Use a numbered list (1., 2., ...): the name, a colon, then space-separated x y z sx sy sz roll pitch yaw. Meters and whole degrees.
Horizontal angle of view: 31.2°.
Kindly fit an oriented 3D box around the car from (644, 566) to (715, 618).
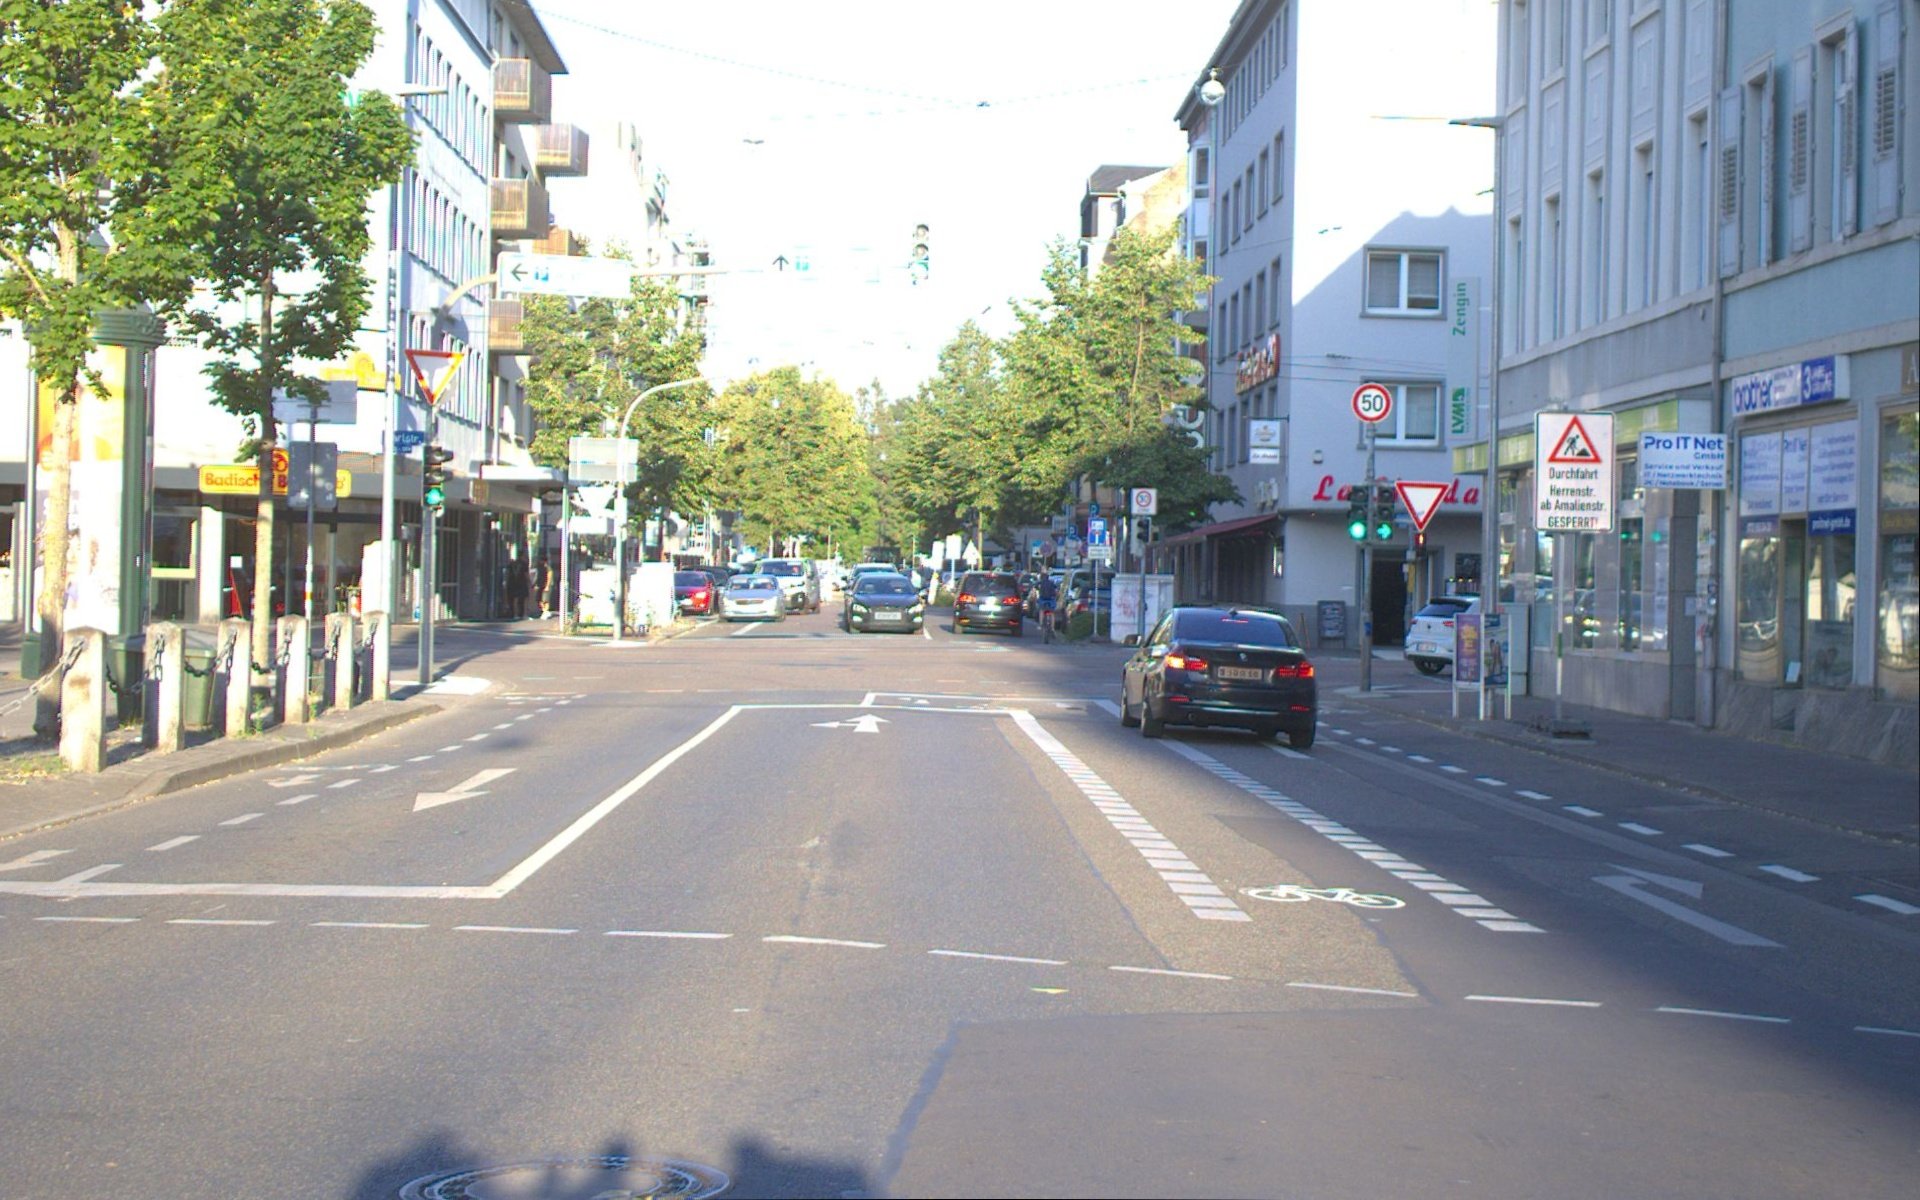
1. car: -9.204 -0.289 113.069 1.894 1.590 4.000 2 1 1

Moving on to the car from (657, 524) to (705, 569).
1. car: -12.985 -2.504 160.017 1.828 2.007 3.676 2 1 1

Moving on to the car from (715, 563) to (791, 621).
1. car: -6.043 -0.256 100.576 1.894 1.590 4.000 2 1 1

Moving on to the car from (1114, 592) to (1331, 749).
1. car: 2.763 0.713 36.981 1.888 1.487 4.205 2 1 -1

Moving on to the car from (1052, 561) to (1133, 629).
1. car: 3.647 -0.154 95.163 1.993 1.773 4.000 2 1 0

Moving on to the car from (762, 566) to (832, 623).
1. car: -5.335 -0.188 112.824 1.993 1.744 4.000 2 1 1

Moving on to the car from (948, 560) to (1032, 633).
1. car: 0.747 -0.120 87.723 1.993 1.744 4.000 2 1 -1

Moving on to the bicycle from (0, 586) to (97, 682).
1. bicycle: -11.096 0.344 37.897 2.942 1.019 0.843 1 0 2

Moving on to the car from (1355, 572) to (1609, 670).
1. car: 9.260 0.381 60.949 3.882 1.598 2.341 1 1 -36

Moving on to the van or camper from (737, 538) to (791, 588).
1. van or camper: -9.758 -1.860 170.951 2.472 2.397 4.001 2 1 -5

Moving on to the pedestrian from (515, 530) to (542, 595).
1. pedestrian: -11.572 -1.008 92.124 0.600 1.715 0.578 2 1 -15

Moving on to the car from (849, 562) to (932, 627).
1. car: -1.698 -0.150 85.260 1.885 1.481 4.000 2 1 1

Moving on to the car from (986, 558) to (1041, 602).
1. car: 2.029 -0.777 131.747 1.780 1.590 3.635 2 1 -4
